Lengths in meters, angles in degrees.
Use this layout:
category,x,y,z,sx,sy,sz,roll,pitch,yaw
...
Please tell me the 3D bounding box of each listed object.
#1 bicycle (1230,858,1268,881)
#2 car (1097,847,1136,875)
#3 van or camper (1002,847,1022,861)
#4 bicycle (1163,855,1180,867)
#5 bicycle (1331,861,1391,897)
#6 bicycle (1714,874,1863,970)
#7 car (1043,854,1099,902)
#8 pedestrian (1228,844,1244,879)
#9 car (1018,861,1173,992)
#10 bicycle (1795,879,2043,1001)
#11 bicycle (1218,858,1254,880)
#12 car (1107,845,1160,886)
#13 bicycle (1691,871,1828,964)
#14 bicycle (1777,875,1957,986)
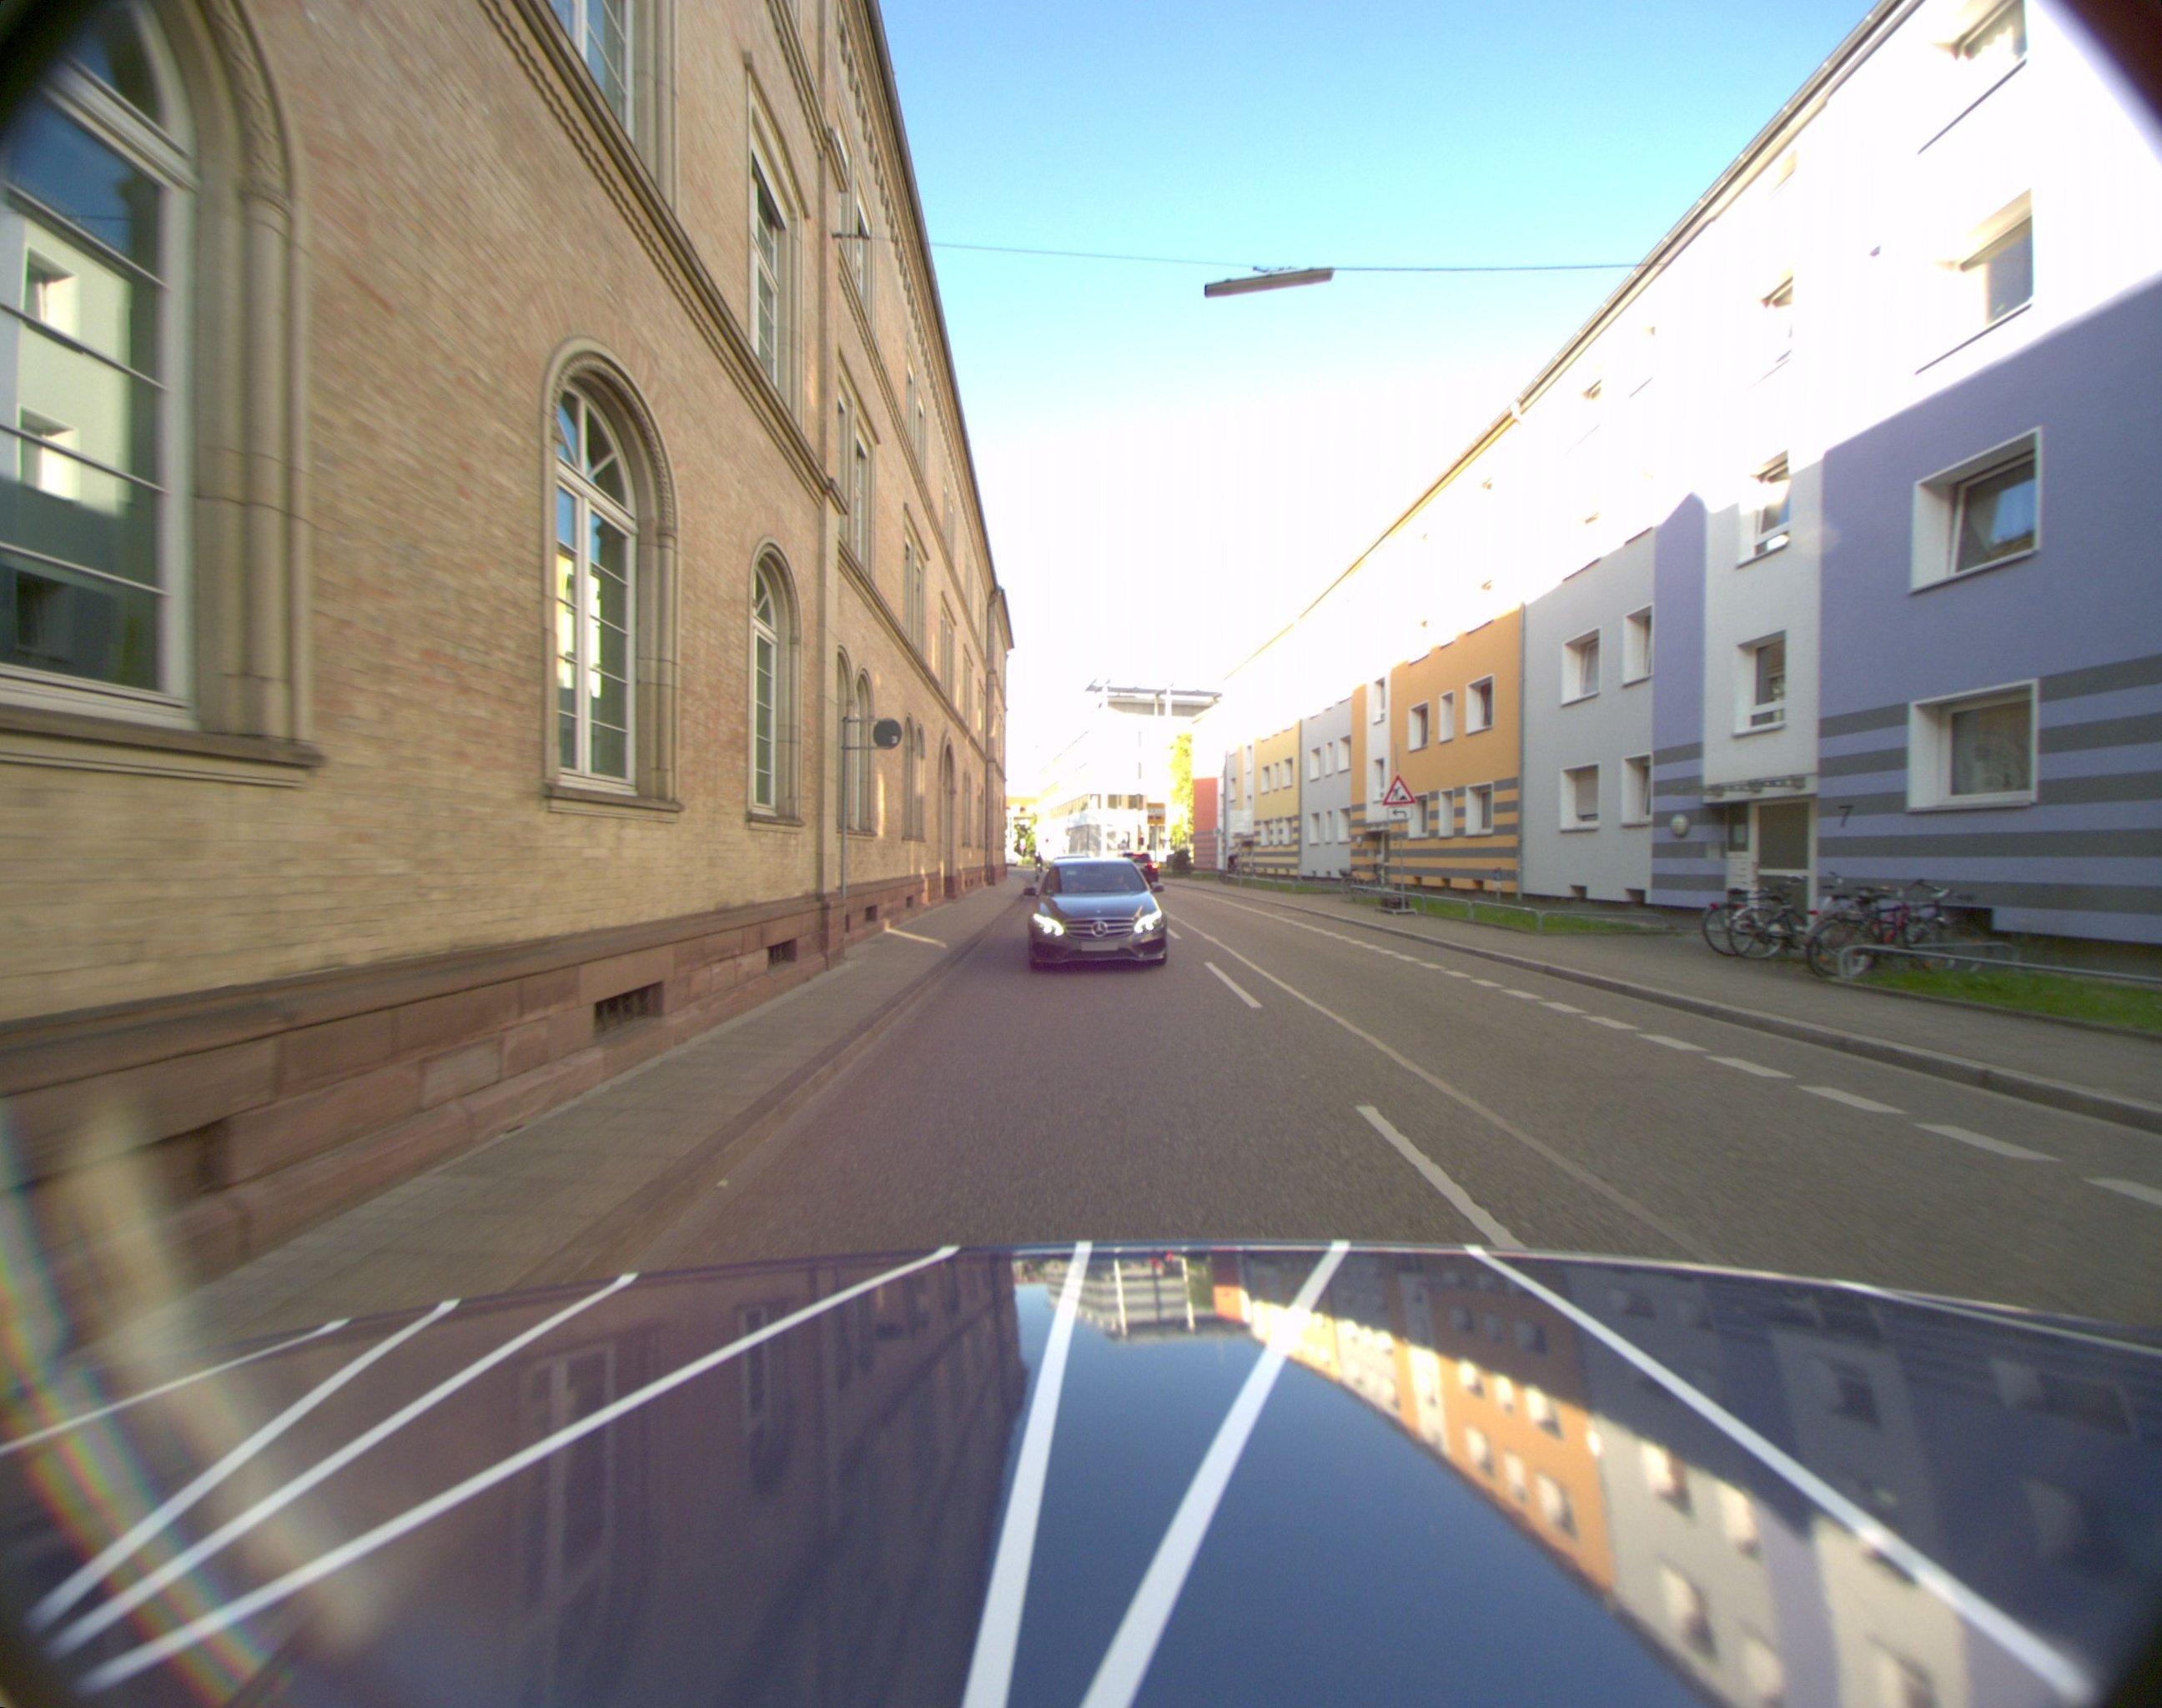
category,x,y,z,sx,sy,sz,roll,pitch,yaw
bicycle,8.619,0.793,39.027,1.757,1.138,0.650,0,1,-10
car,1.987,0.379,43.919,1.746,1.477,4.135,2,0,-4
van or camper,-9.804,-0.035,107.829,2.163,2.002,4.970,0,0,-13
bicycle,9.542,0.749,80.137,0.471,1.175,1.987,-1,1,-40
bicycle,9.153,0.814,24.869,1.757,1.138,0.650,0,1,-10
bicycle,9.367,0.885,10.074,1.589,1.234,0.449,0,1,-2
car,-0.419,0.788,27.105,1.748,1.594,3.998,0,0,-5
pedestrian,8.308,0.407,40.741,0.720,1.844,0.871,0,1,19
car,0.214,0.866,11.184,1.798,1.460,4.719,0,0,1
bicycle,8.884,0.891,8.097,2.014,1.224,0.623,0,1,-2
bicycle,8.215,0.792,40.385,1.757,1.138,0.650,0,1,-10
car,2.474,0.506,36.899,1.905,1.824,5.093,2,0,-3
bicycle,9.354,0.863,10.492,1.584,1.234,0.384,0,1,-2
bicycle,9.095,0.873,8.818,1.643,1.234,0.467,0,1,-2
